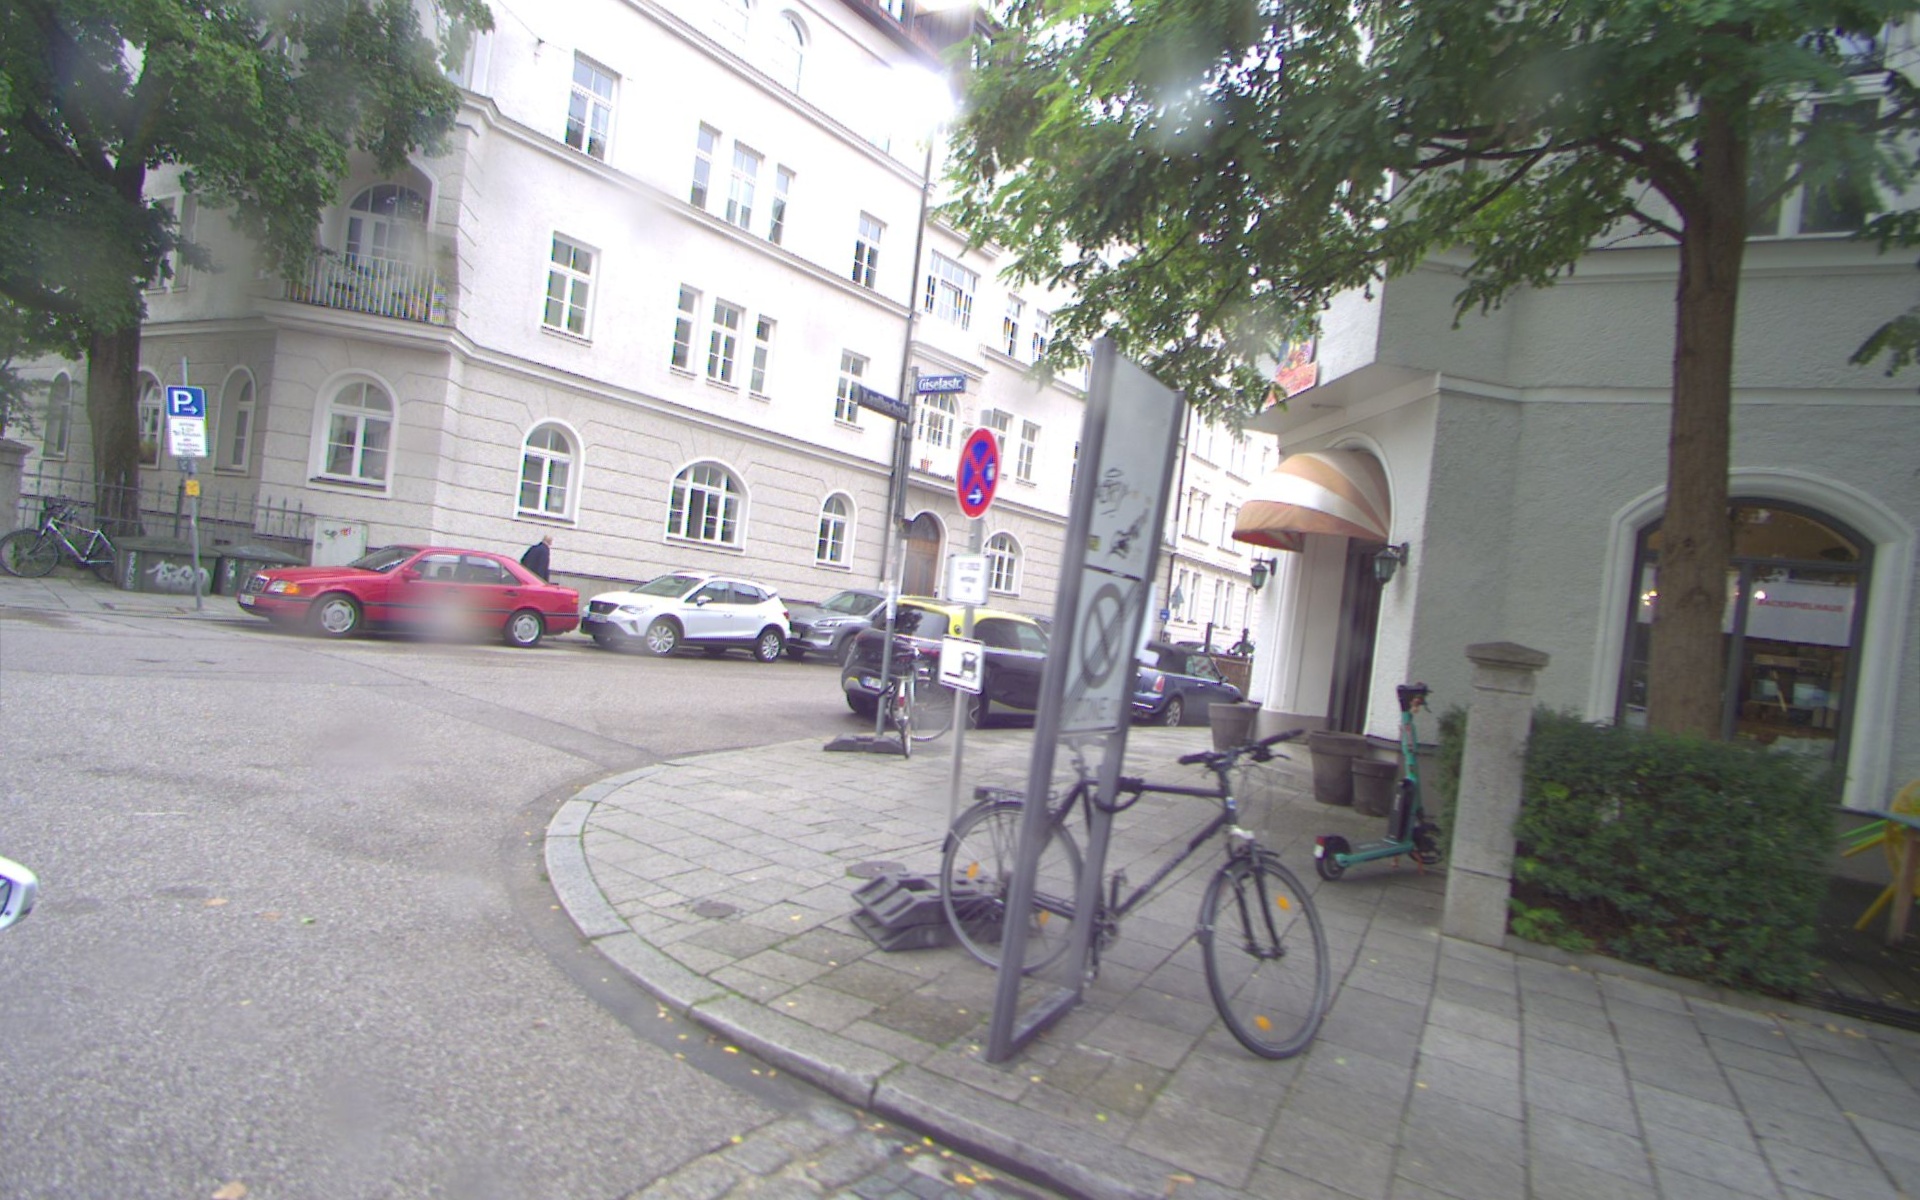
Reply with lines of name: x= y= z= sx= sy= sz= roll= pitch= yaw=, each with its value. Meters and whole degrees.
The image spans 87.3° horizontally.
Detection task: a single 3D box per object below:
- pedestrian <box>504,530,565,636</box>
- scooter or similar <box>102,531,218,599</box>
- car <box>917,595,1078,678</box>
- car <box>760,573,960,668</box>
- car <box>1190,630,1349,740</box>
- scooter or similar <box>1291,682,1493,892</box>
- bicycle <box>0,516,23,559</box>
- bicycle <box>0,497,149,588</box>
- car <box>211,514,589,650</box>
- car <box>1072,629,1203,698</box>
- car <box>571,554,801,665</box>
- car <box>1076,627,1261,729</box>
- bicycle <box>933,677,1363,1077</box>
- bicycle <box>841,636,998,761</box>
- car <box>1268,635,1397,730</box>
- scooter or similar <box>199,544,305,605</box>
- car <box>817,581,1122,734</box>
pedestrian: x=-8.031 y=-0.318 z=18.990 sx=0.729 sy=1.898 sz=0.495 roll=7 pitch=-1 yaw=24
scooter or similar: x=-12.606 y=-0.547 z=15.863 sx=0.910 sy=0.858 sz=1.183 roll=6 pitch=-2 yaw=38
car: x=1.055 y=0.996 z=26.004 sx=1.861 sy=1.684 sz=4.277 roll=7 pitch=0 yaw=38
car: x=-2.105 y=0.499 z=22.270 sx=1.727 sy=1.732 sz=4.322 roll=5 pitch=-1 yaw=40
car: x=6.773 y=1.887 z=21.757 sx=1.749 sy=1.992 sz=3.918 roll=6 pitch=-2 yaw=40
scooter or similar: x=2.837 y=1.170 z=6.535 sx=1.594 sy=1.187 sz=0.401 roll=5 pitch=1 yaw=-38
bicycle: x=-20.365 y=-1.380 z=21.074 sx=2.236 sy=0.821 sz=0.492 roll=6 pitch=-1 yaw=33
bicycle: x=-13.811 y=-0.881 z=15.526 sx=0.554 sy=1.137 sz=1.838 roll=7 pitch=-2 yaw=38
car: x=-8.010 y=-0.175 z=14.814 sx=1.733 sy=1.374 sz=4.469 roll=7 pitch=-1 yaw=36
car: x=5.674 y=2.032 z=31.845 sx=1.865 sy=1.683 sz=4.269 roll=7 pitch=-1 yaw=45
car: x=-4.890 y=0.243 z=18.477 sx=1.541 sy=1.539 sz=3.891 roll=7 pitch=-2 yaw=34
car: x=3.830 y=1.449 z=18.084 sx=1.676 sy=1.442 sz=3.528 roll=6 pitch=-2 yaw=40
bicycle: x=0.691 y=0.996 z=4.037 sx=1.565 sy=1.160 sz=0.388 roll=6 pitch=0 yaw=36
bicycle: x=-0.357 y=0.934 z=9.896 sx=0.727 sy=1.082 sz=1.603 roll=3 pitch=-1 yaw=31
car: x=9.254 y=2.067 z=24.845 sx=1.705 sy=1.957 sz=3.647 roll=6 pitch=-2 yaw=40
scooter or similar: x=-11.883 y=-0.416 z=16.902 sx=0.686 sy=0.835 sz=1.237 roll=6 pitch=-2 yaw=38
car: x=0.269 y=0.858 z=13.738 sx=1.878 sy=1.616 sz=4.073 roll=6 pitch=-2 yaw=40
